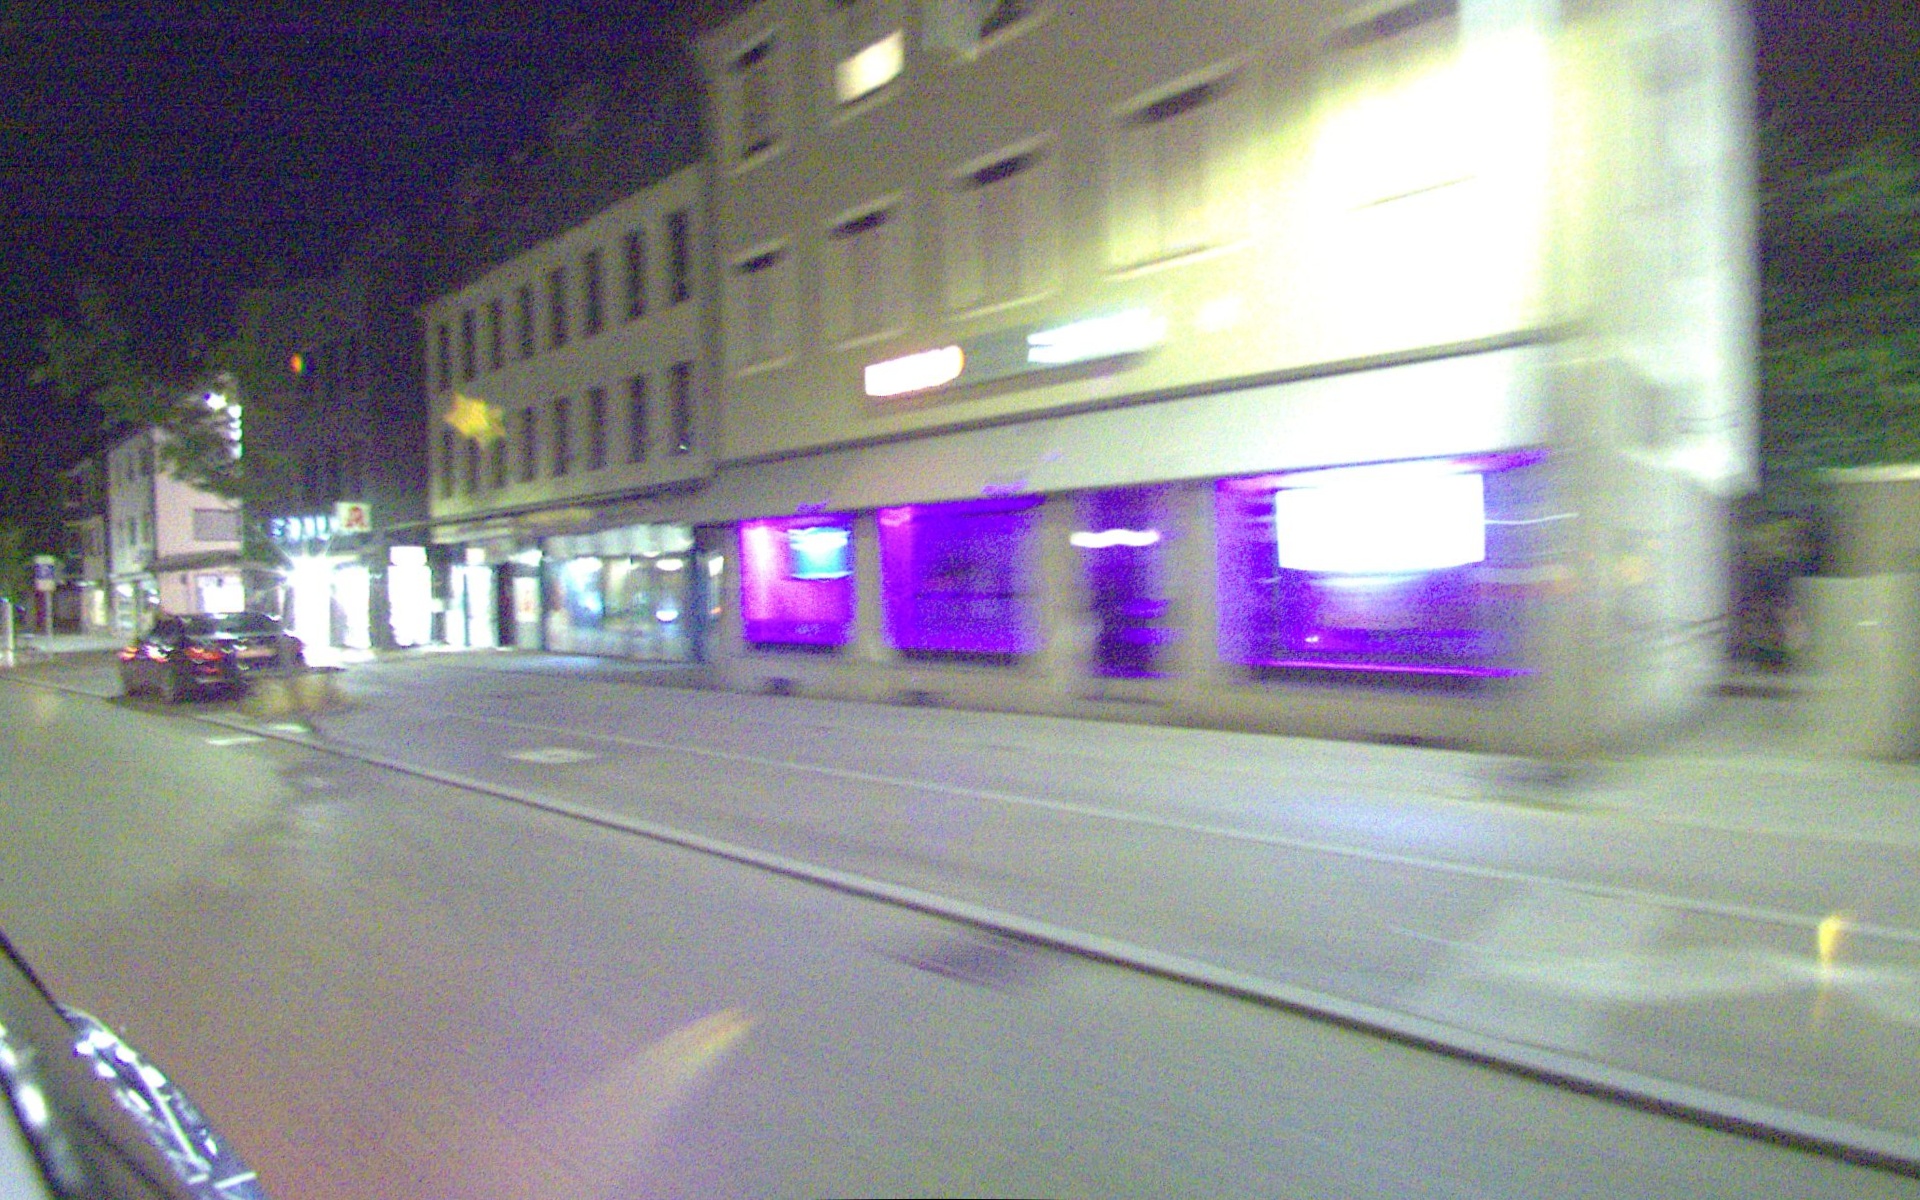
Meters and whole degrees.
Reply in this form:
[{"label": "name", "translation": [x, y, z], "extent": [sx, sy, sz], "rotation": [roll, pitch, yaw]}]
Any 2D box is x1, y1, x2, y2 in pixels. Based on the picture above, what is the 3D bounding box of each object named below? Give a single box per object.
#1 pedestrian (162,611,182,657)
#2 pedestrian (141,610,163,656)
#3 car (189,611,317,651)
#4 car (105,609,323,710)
[{"label": "pedestrian", "translation": [-28.279, 1.215, 36.329], "extent": [0.521, 1.600, 0.667], "rotation": [-1, 0, -35]}, {"label": "pedestrian", "translation": [-28.922, 1.181, 36.230], "extent": [0.520, 1.600, 0.667], "rotation": [-1, 0, -34]}, {"label": "car", "translation": [-27.122, 1.145, 38.906], "extent": [1.652, 1.427, 3.784], "rotation": [-1, -1, 41]}, {"label": "car", "translation": [-12.936, 0.945, 17.431], "extent": [4.926, 1.430, 1.877], "rotation": [-1, 1, 40]}]
